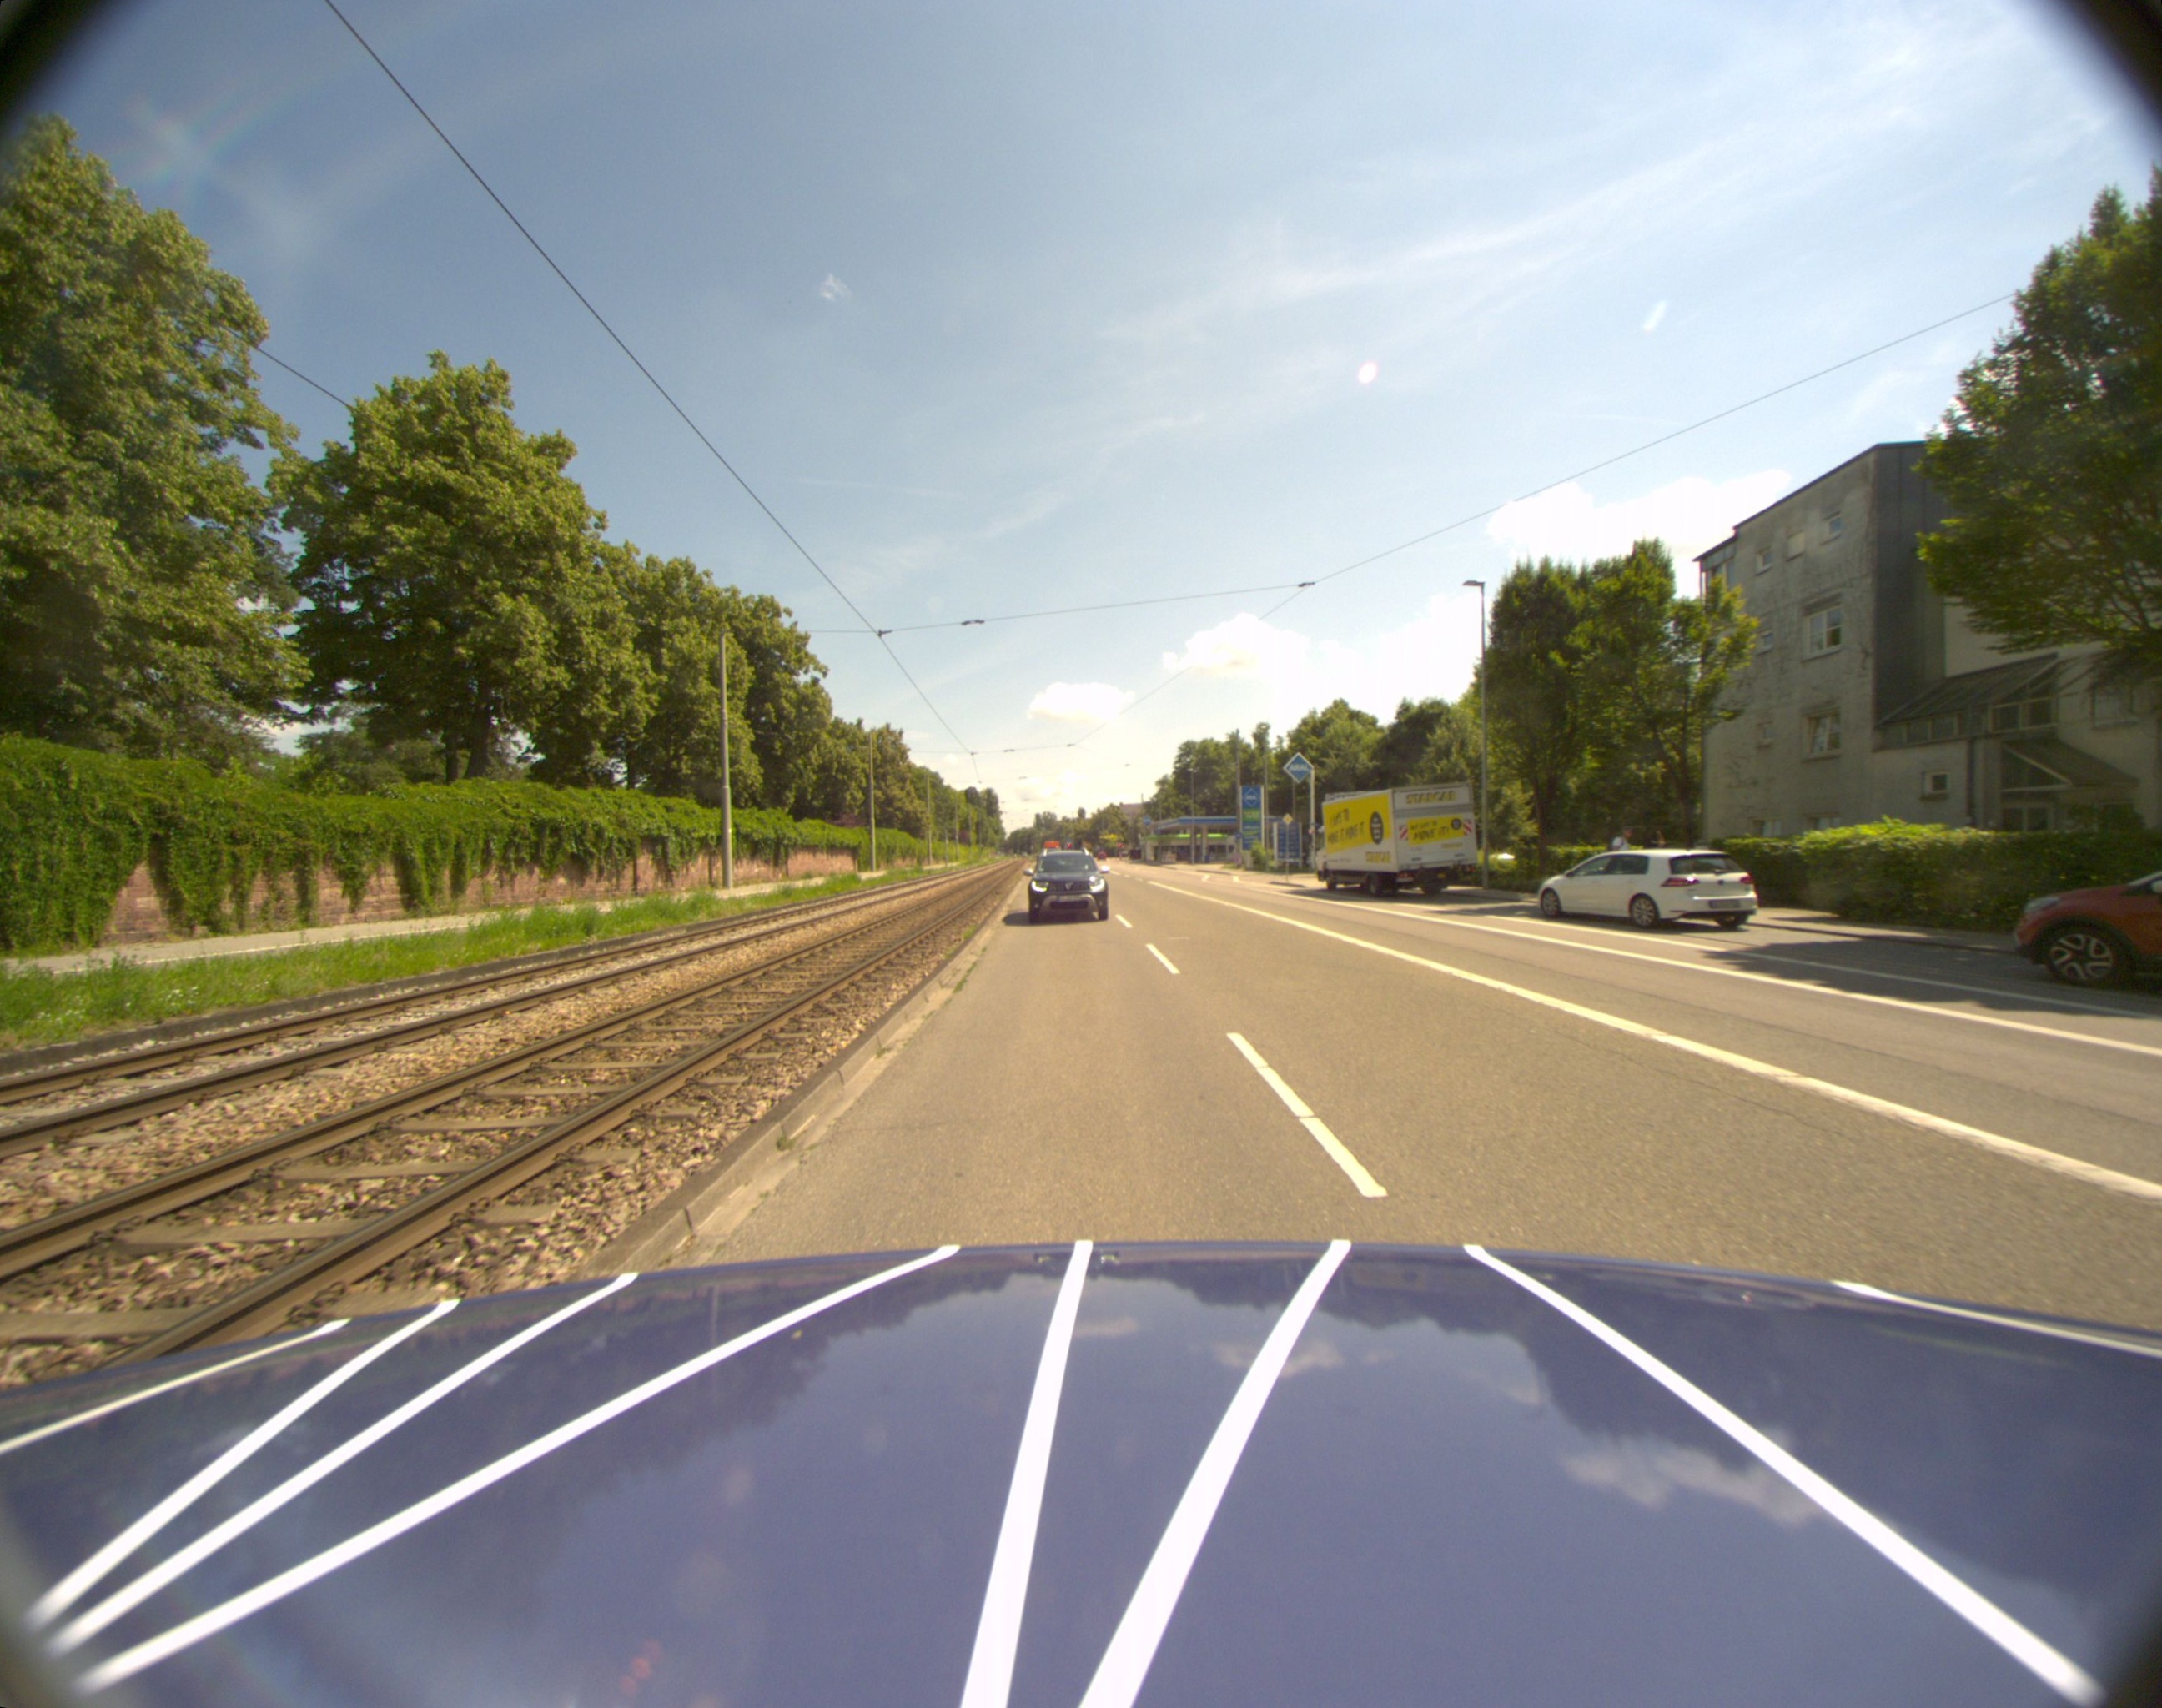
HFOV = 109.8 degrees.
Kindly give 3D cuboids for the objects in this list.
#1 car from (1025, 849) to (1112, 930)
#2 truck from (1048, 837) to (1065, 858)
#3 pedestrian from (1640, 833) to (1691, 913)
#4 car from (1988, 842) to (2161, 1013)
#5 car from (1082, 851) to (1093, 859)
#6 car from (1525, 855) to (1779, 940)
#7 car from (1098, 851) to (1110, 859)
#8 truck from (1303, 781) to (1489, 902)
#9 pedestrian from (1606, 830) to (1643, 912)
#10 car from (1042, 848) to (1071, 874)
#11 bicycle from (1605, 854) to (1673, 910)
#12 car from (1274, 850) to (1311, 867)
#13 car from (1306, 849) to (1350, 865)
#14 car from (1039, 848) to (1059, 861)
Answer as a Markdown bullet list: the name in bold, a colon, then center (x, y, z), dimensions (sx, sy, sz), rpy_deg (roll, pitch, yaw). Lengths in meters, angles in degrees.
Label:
- **car**: center (-0.347, 0.746, 18.678), dimensions (1.802, 1.652, 4.786), rpy_deg (-2, 1, -2)
- **truck**: center (-4.386, -1.165, 137.032), dimensions (2.846, 3.575, 8.703), rpy_deg (-1, 1, -1)
- **pedestrian**: center (13.293, 0.416, 17.273), dimensions (0.685, 1.784, 0.702), rpy_deg (-1, 1, -29)
- **car**: center (11.178, 0.708, 6.555), dimensions (1.660, 1.600, 4.172), rpy_deg (-1, 1, -2)
- **car**: center (1.299, 0.223, 145.035), dimensions (1.999, 1.379, 3.999), rpy_deg (-1, 0, -1)
- **car**: center (10.990, 0.740, 15.108), dimensions (1.660, 1.402, 4.396), rpy_deg (-1, 0, -2)
- **car**: center (4.394, 0.217, 145.744), dimensions (1.999, 1.379, 3.999), rpy_deg (-1, 0, -1)
- **truck**: center (10.768, -0.403, 27.140), dimensions (2.839, 3.528, 8.168), rpy_deg (-3, 0, -2)
- **pedestrian**: center (13.052, 0.391, 18.250), dimensions (0.642, 1.911, 0.710), rpy_deg (0, 1, 29)
- **car**: center (-1.632, 0.466, 52.102), dimensions (1.801, 1.683, 4.144), rpy_deg (-1, 0, 0)
- **bicycle**: center (13.735, 0.667, 18.758), dimensions (0.457, 1.308, 1.665), rpy_deg (-1, 0, 0)
- **car**: center (17.225, 0.312, 62.065), dimensions (1.818, 1.329, 3.999), rpy_deg (-1, 0, -2)
- **car**: center (23.850, 0.282, 73.381), dimensions (3.992, 1.535, 1.822), rpy_deg (-1, 1, 17)
- **car**: center (-3.552, 0.055, 84.880), dimensions (1.998, 1.346, 3.999), rpy_deg (2, 1, 0)
